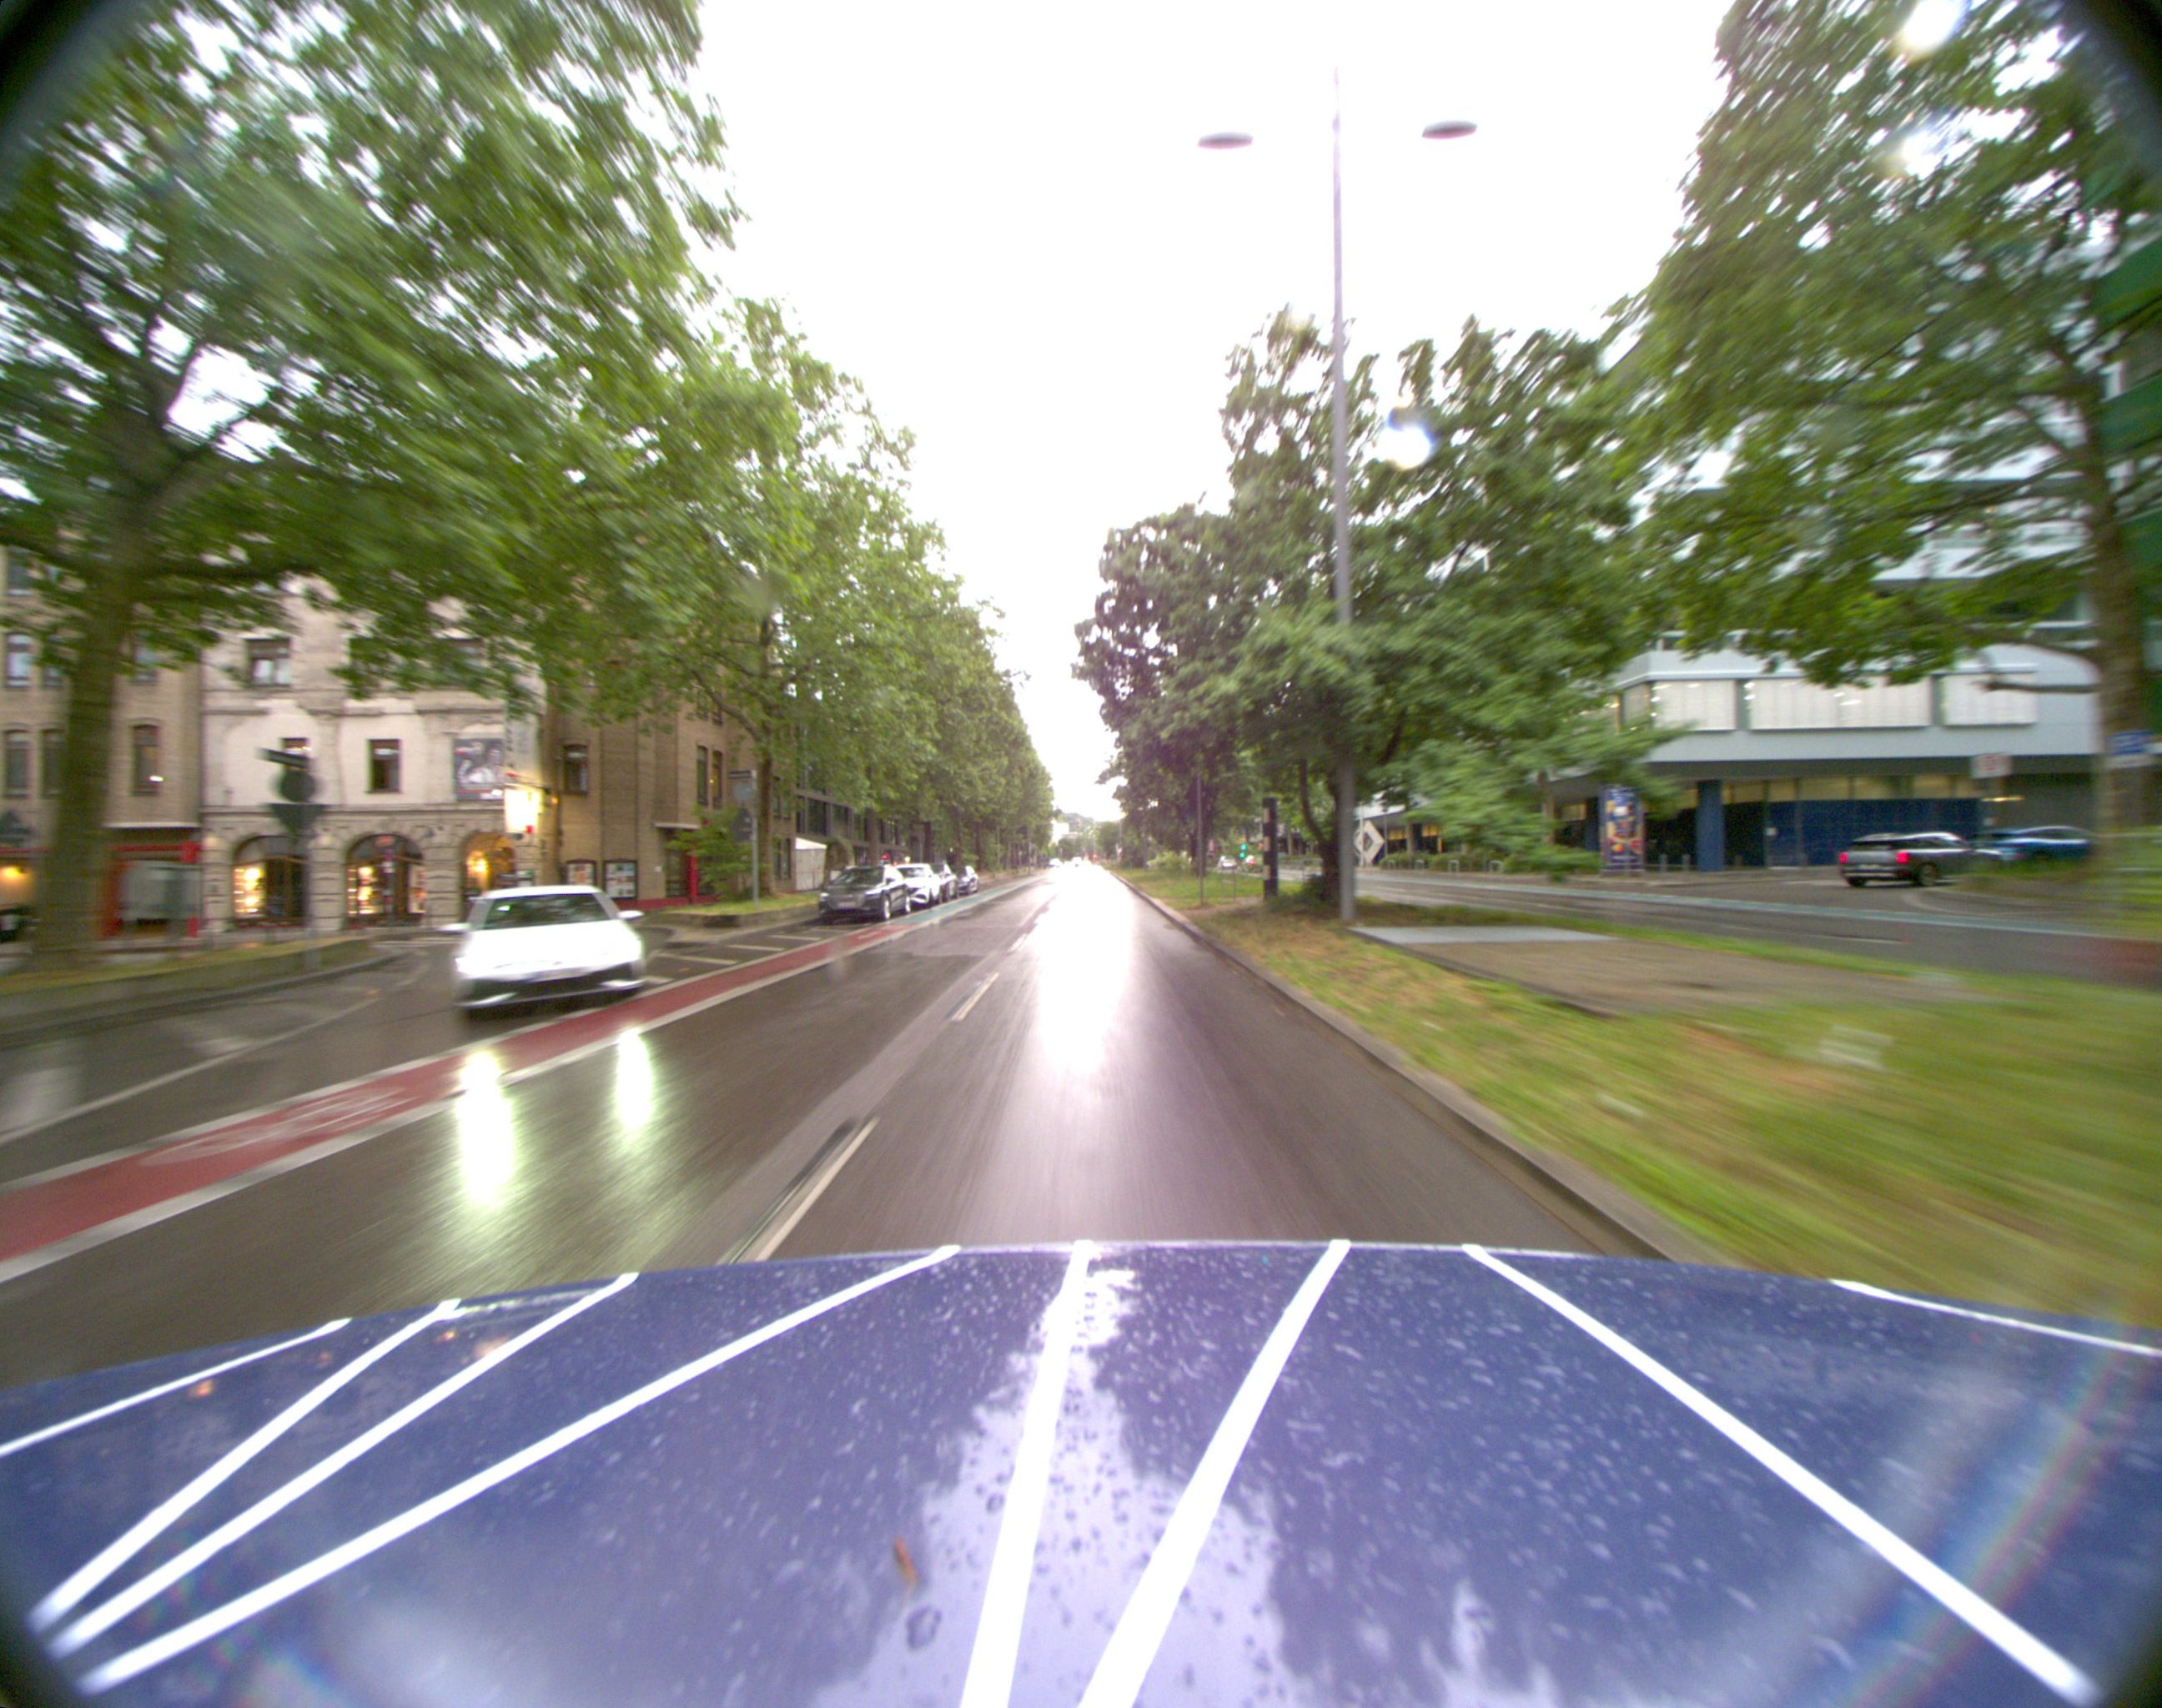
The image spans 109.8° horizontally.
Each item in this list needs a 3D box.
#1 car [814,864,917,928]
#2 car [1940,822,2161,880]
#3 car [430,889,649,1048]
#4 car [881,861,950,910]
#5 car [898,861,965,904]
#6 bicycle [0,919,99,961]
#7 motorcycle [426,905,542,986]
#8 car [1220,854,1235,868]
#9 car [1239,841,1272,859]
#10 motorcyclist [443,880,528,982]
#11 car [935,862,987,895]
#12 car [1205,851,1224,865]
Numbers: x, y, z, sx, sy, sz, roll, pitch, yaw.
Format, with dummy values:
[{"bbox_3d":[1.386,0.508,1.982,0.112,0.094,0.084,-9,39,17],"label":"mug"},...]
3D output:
[{"bbox_3d":[-6.357,1.162,22.924,1.797,1.593,4.423,-3,0,0],"label":"car"},{"bbox_3d":[34.089,-0.094,26.820,4.999,1.682,2.000,-3,1,4],"label":"car"},{"bbox_3d":[-7.135,1.256,9.984,1.871,1.436,4.497,-2,0,-38],"label":"car"},{"bbox_3d":[-5.997,1.086,28.033,1.756,1.576,4.409,-2,0,-3],"label":"car"},{"bbox_3d":[-6.344,1.161,32.772,1.999,1.580,4.560,-2,0,-1],"label":"car"},{"bbox_3d":[-25.940,2.153,19.038,1.971,0.932,0.625,-2,0,5],"label":"bicycle"},{"bbox_3d":[-10.297,1.539,13.220,0.869,1.136,2.019,-2,0,-17],"label":"motorcycle"},{"bbox_3d":[15.712,0.688,81.547,1.163,1.454,3.561,-1,0,3],"label":"car"},{"bbox_3d":[15.180,-0.356,66.180,1.998,1.483,4.757,0,0,3],"label":"car"},{"bbox_3d":[-10.301,1.304,13.181,0.850,1.635,0.870,-2,0,-17],"label":"motorcyclist"},{"bbox_3d":[-5.970,1.199,38.403,1.747,1.424,4.586,-2,0,1],"label":"car"},{"bbox_3d":[17.678,0.499,100.831,1.998,1.791,4.283,-1,0,4],"label":"car"}]
